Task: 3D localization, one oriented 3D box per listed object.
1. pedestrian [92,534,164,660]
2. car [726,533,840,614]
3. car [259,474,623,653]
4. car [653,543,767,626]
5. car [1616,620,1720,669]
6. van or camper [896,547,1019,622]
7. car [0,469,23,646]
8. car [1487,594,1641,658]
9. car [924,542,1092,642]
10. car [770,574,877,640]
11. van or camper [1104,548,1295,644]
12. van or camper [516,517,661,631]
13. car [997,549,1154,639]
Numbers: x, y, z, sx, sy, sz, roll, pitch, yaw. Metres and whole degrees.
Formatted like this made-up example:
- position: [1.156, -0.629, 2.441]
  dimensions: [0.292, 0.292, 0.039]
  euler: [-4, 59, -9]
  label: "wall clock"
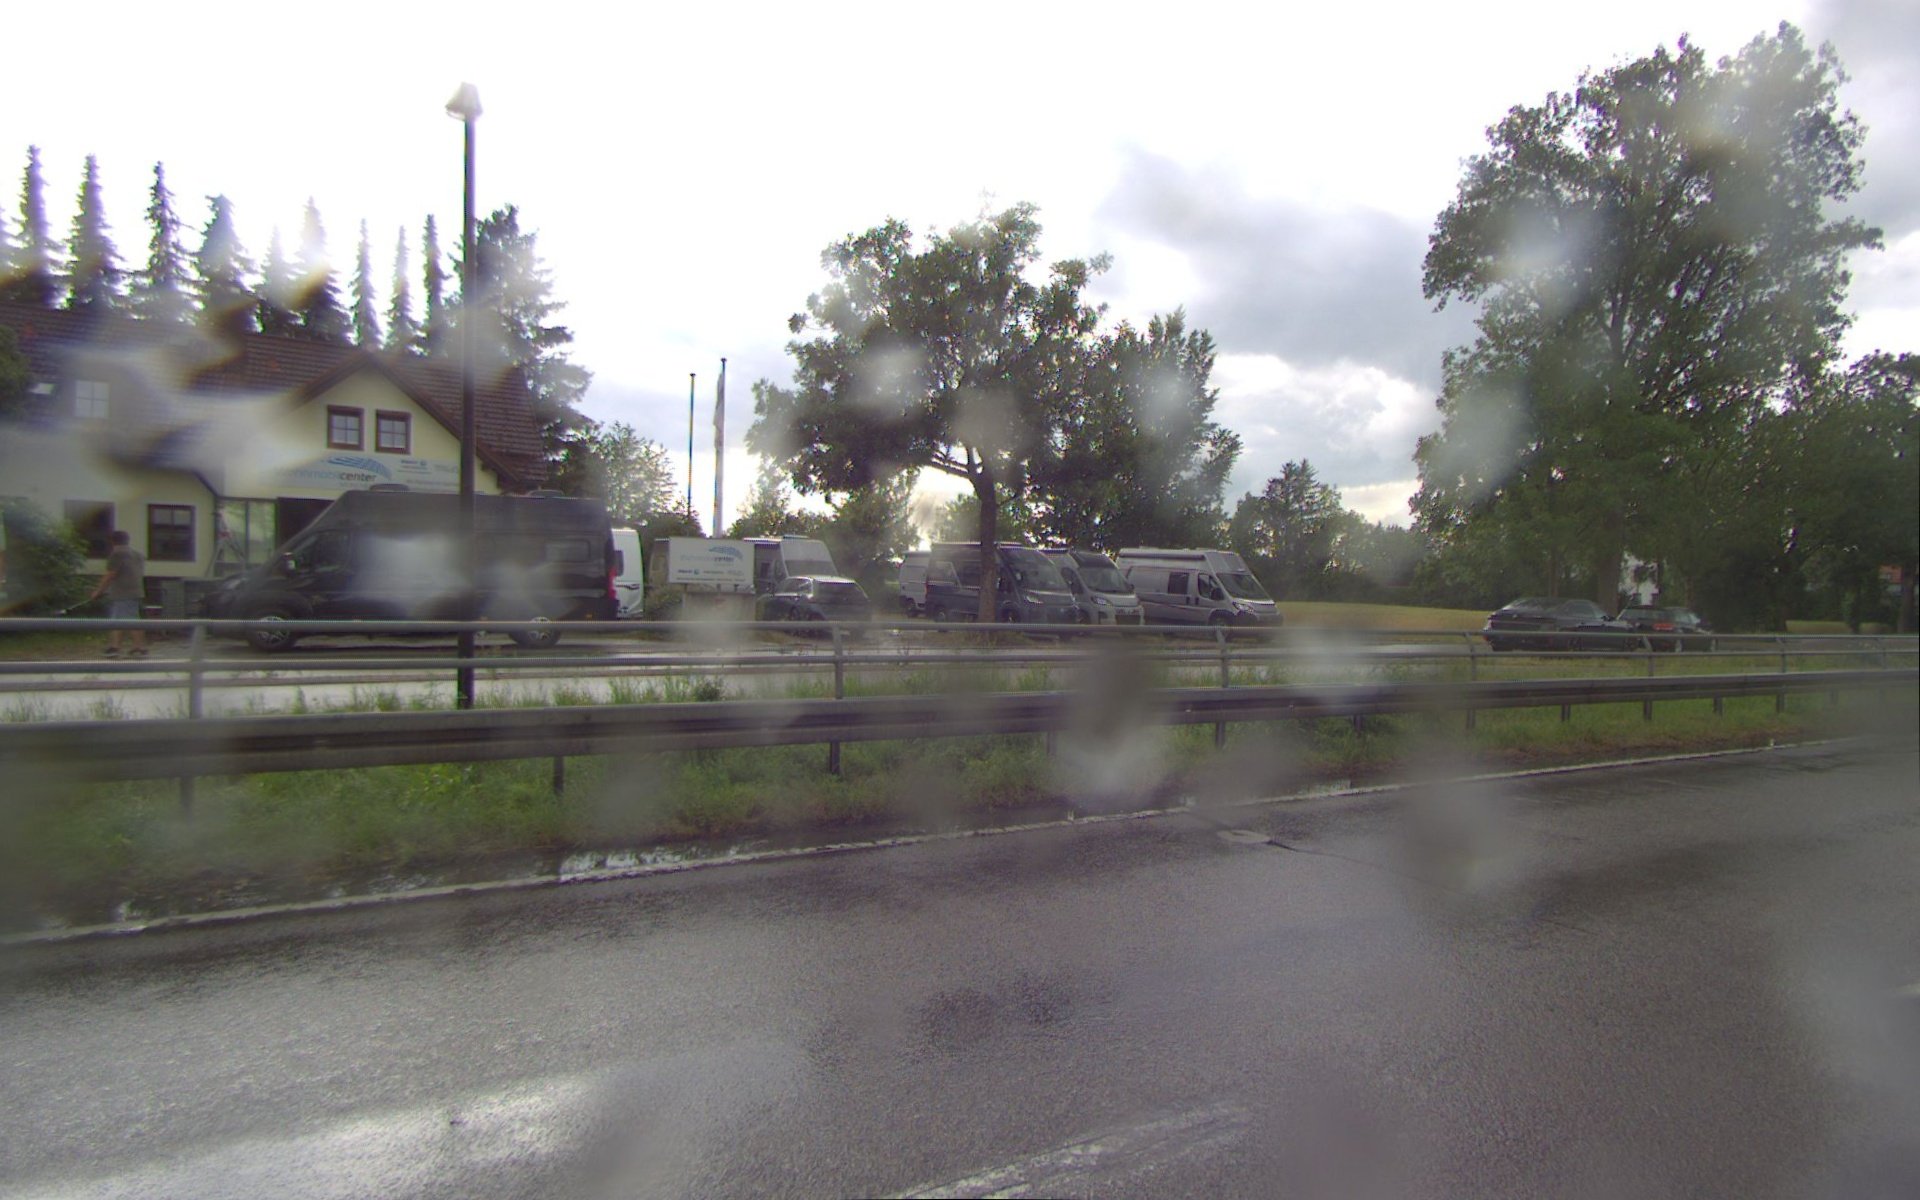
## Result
- position: [-11.809, -0.041, 14.272]
  dimensions: [0.640, 1.733, 0.514]
  euler: [1, 2, -22]
  label: "pedestrian"
- position: [-6.406, -0.948, 35.703]
  dimensions: [2.066, 2.573, 6.064]
  euler: [1, 1, -29]
  label: "car"
- position: [-9.242, -0.572, 18.208]
  dimensions: [5.511, 2.800, 2.369]
  euler: [1, 2, -32]
  label: "car"
- position: [-8.326, -0.537, 32.974]
  dimensions: [2.066, 2.449, 6.064]
  euler: [1, 1, -29]
  label: "car"
- position: [21.341, 1.305, 30.248]
  dimensions: [3.858, 1.349, 1.274]
  euler: [1, 1, -35]
  label: "car"
- position: [-0.227, -0.649, 38.236]
  dimensions: [1.977, 2.625, 5.774]
  euler: [1, 2, -31]
  label: "van or camper"
- position: [-16.754, -0.673, 13.319]
  dimensions: [5.951, 2.615, 2.225]
  euler: [1, 2, -31]
  label: "car"
- position: [16.046, 0.677, 26.579]
  dimensions: [5.069, 1.511, 1.505]
  euler: [1, 2, -35]
  label: "car"
- position: [1.205, -0.285, 28.190]
  dimensions: [1.980, 2.535, 5.149]
  euler: [1, 2, -34]
  label: "car"
- position: [-3.627, 0.142, 26.113]
  dimensions: [1.521, 1.516, 3.868]
  euler: [1, 2, -28]
  label: "car"
- position: [7.263, -0.213, 31.223]
  dimensions: [2.060, 2.713, 5.836]
  euler: [1, 2, -35]
  label: "van or camper"
- position: [-10.008, -0.699, 26.644]
  dimensions: [2.532, 2.626, 6.191]
  euler: [1, 2, -31]
  label: "van or camper"
- position: [3.401, -0.249, 30.660]
  dimensions: [1.978, 2.492, 5.063]
  euler: [1, 2, -32]
  label: "car"
